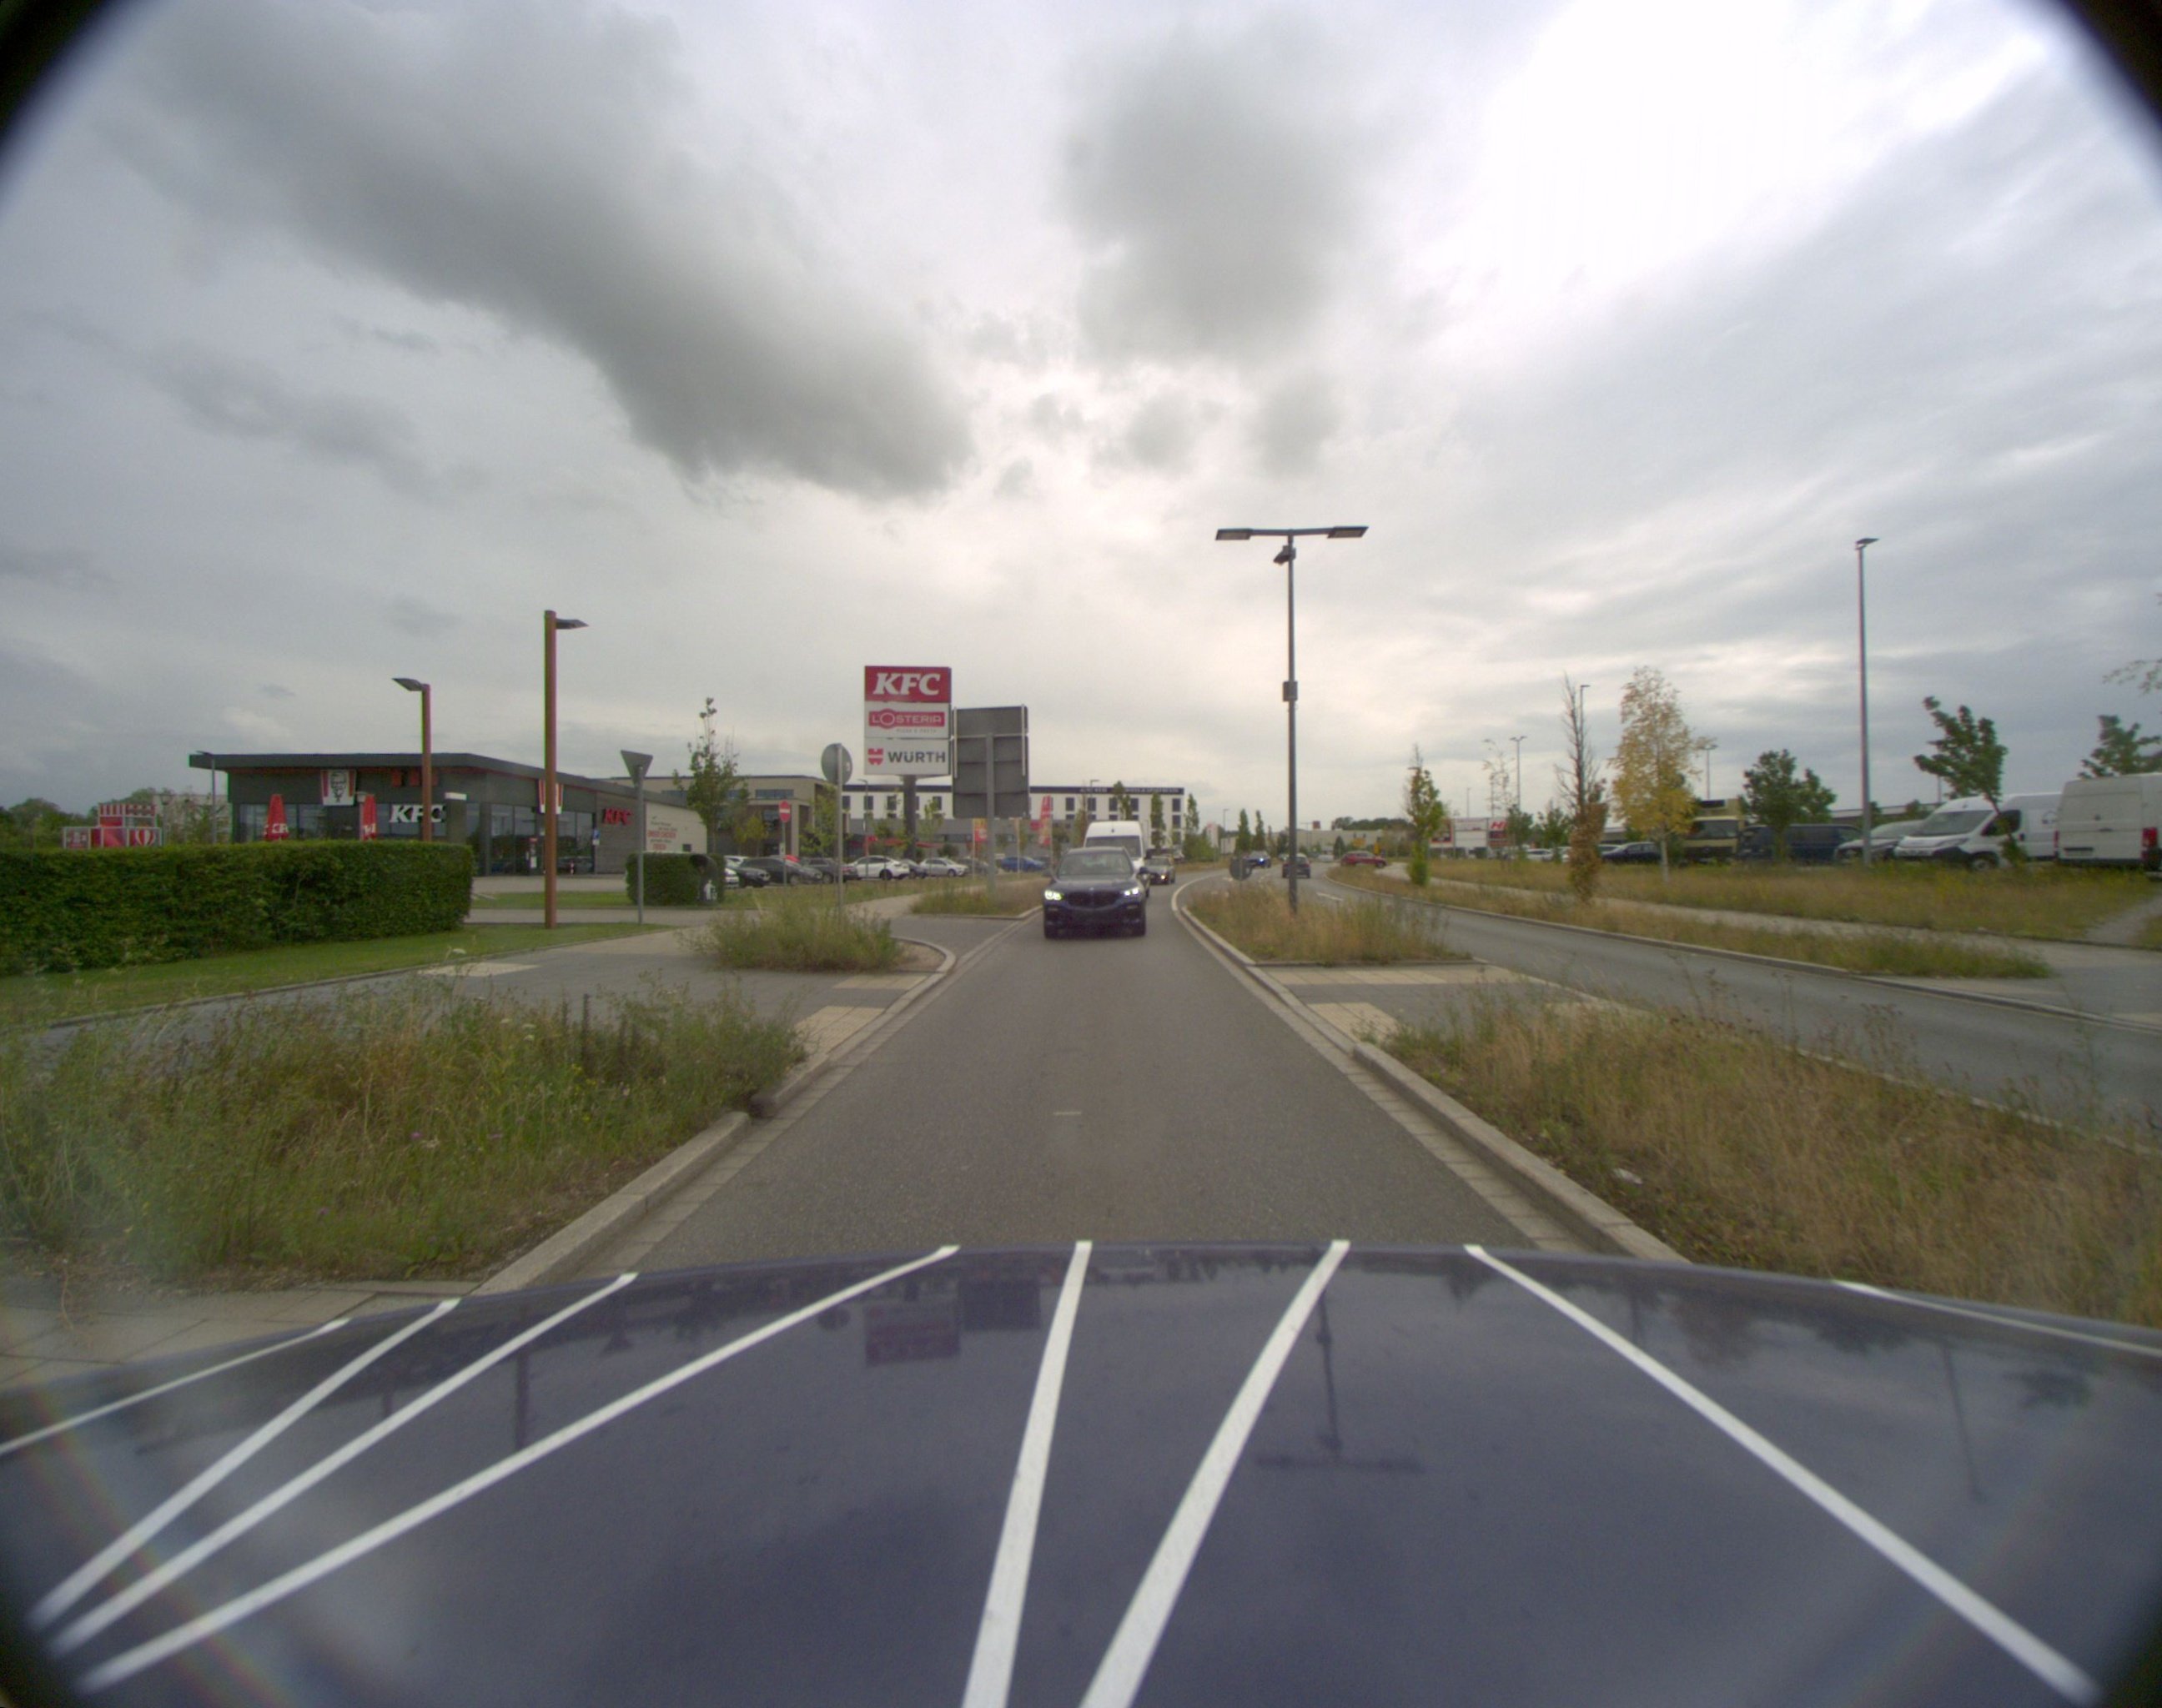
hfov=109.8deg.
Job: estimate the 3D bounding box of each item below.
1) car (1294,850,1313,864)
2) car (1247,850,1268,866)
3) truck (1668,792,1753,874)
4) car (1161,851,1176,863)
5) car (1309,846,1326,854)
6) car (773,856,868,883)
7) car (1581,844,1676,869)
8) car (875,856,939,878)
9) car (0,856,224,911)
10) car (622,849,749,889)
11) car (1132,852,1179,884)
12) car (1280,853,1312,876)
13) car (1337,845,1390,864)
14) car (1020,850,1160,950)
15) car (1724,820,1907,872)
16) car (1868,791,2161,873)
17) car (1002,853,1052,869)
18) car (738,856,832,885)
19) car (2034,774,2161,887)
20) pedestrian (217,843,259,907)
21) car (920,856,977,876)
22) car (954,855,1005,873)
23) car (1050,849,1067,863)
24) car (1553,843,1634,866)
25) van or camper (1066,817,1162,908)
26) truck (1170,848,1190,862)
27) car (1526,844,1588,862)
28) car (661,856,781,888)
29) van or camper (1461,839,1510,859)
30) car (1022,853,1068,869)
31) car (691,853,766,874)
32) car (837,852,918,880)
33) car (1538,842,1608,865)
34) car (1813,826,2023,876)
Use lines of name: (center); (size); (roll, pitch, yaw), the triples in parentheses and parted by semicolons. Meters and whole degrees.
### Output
car: (23.109, 0.317, 79.090); (1.705, 1.429, 4.037); (0, 0, 13)
car: (18.227, 0.418, 78.384); (1.754, 1.575, 4.005); (-1, 0, 17)
truck: (30.760, -0.935, 36.966); (2.851, 3.520, 8.447); (-1, 0, 42)
car: (12.881, 0.470, 111.631); (1.765, 1.676, 4.416); (0, 0, 12)
car: (63.355, -1.151, 203.728); (4.002, 2.002, 1.640); (-1, 0, -15)
car: (-14.393, 0.831, 42.152); (4.525, 1.460, 2.033); (0, 0, 9)
car: (32.736, 0.146, 45.574); (4.237, 1.426, 2.000); (0, 0, 18)
car: (-12.358, 0.886, 54.131); (3.991, 1.476, 1.943); (0, 1, 17)
car: (-27.288, 0.763, 21.290); (4.163, 1.421, 2.000); (0, 0, -42)
car: (-16.541, 0.613, 31.928); (4.357, 1.630, 1.938); (0, 0, 3)
car: (3.876, 0.688, 38.963); (1.754, 1.575, 4.005); (-1, 0, 15)
car: (13.660, 0.645, 48.188); (1.843, 1.399, 4.005); (2, 0, 17)
car: (26.022, 0.031, 69.987); (4.331, 1.660, 1.801); (2, 1, -19)
car: (0.339, 0.799, 14.730); (1.997, 1.654, 4.004); (-1, 0, 11)
car: (29.475, -0.286, 30.691); (4.909, 1.978, 2.181); (0, 0, 12)
car: (28.273, -0.637, 23.127); (6.082, 2.293, 2.211); (-1, 0, 4)
car: (-5.127, 0.698, 72.302); (4.266, 1.511, 1.969); (0, 0, 23)
car: (-15.276, 0.848, 39.303); (4.091, 1.429, 1.944); (0, 0, 7)
car: (27.611, -0.577, 18.141); (6.421, 2.583, 2.244); (-1, 0, 5)
pedestrian: (-23.950, 0.590, 21.601); (0.472, 1.795, 0.799); (-1, 1, -21)
car: (-10.210, 0.891, 58.588); (3.865, 1.473, 1.905); (1, 1, 19)
car: (-8.397, 0.833, 63.056); (3.761, 1.485, 1.893); (0, 0, 21)
car: (-3.332, 0.233, 110.225); (2.000, 1.975, 4.633); (-1, 0, -8)
car: (35.444, 0.026, 52.677); (4.253, 1.550, 1.991); (0, 0, 14)
van or camper: (1.233, 0.257, 24.789); (2.262, 2.601, 5.702); (0, 0, 12)
truck: (16.670, 0.198, 127.860); (2.229, 2.312, 8.225); (0, 0, 16)
car: (40.617, -0.106, 64.921); (4.184, 1.460, 1.888); (0, 1, 19)
car: (-16.246, 0.800, 34.437); (4.477, 1.428, 2.075); (0, 0, 5)
van or camper: (57.970, -0.688, 109.002); (5.860, 2.784, 2.246); (0, 1, 15)
car: (-3.521, 0.697, 74.432); (3.990, 1.485, 1.985); (0, 0, 25)
car: (-26.022, 0.695, 56.166); (4.571, 1.510, 2.082); (1, 0, 4)
car: (-13.135, 0.739, 49.100); (4.568, 1.635, 2.091); (1, 1, 13)
car: (38.723, -0.041, 59.942); (4.247, 1.713, 2.031); (-1, 0, 19)
car: (28.719, -0.087, 26.208); (4.913, 1.607, 1.995); (-1, 0, 2)
